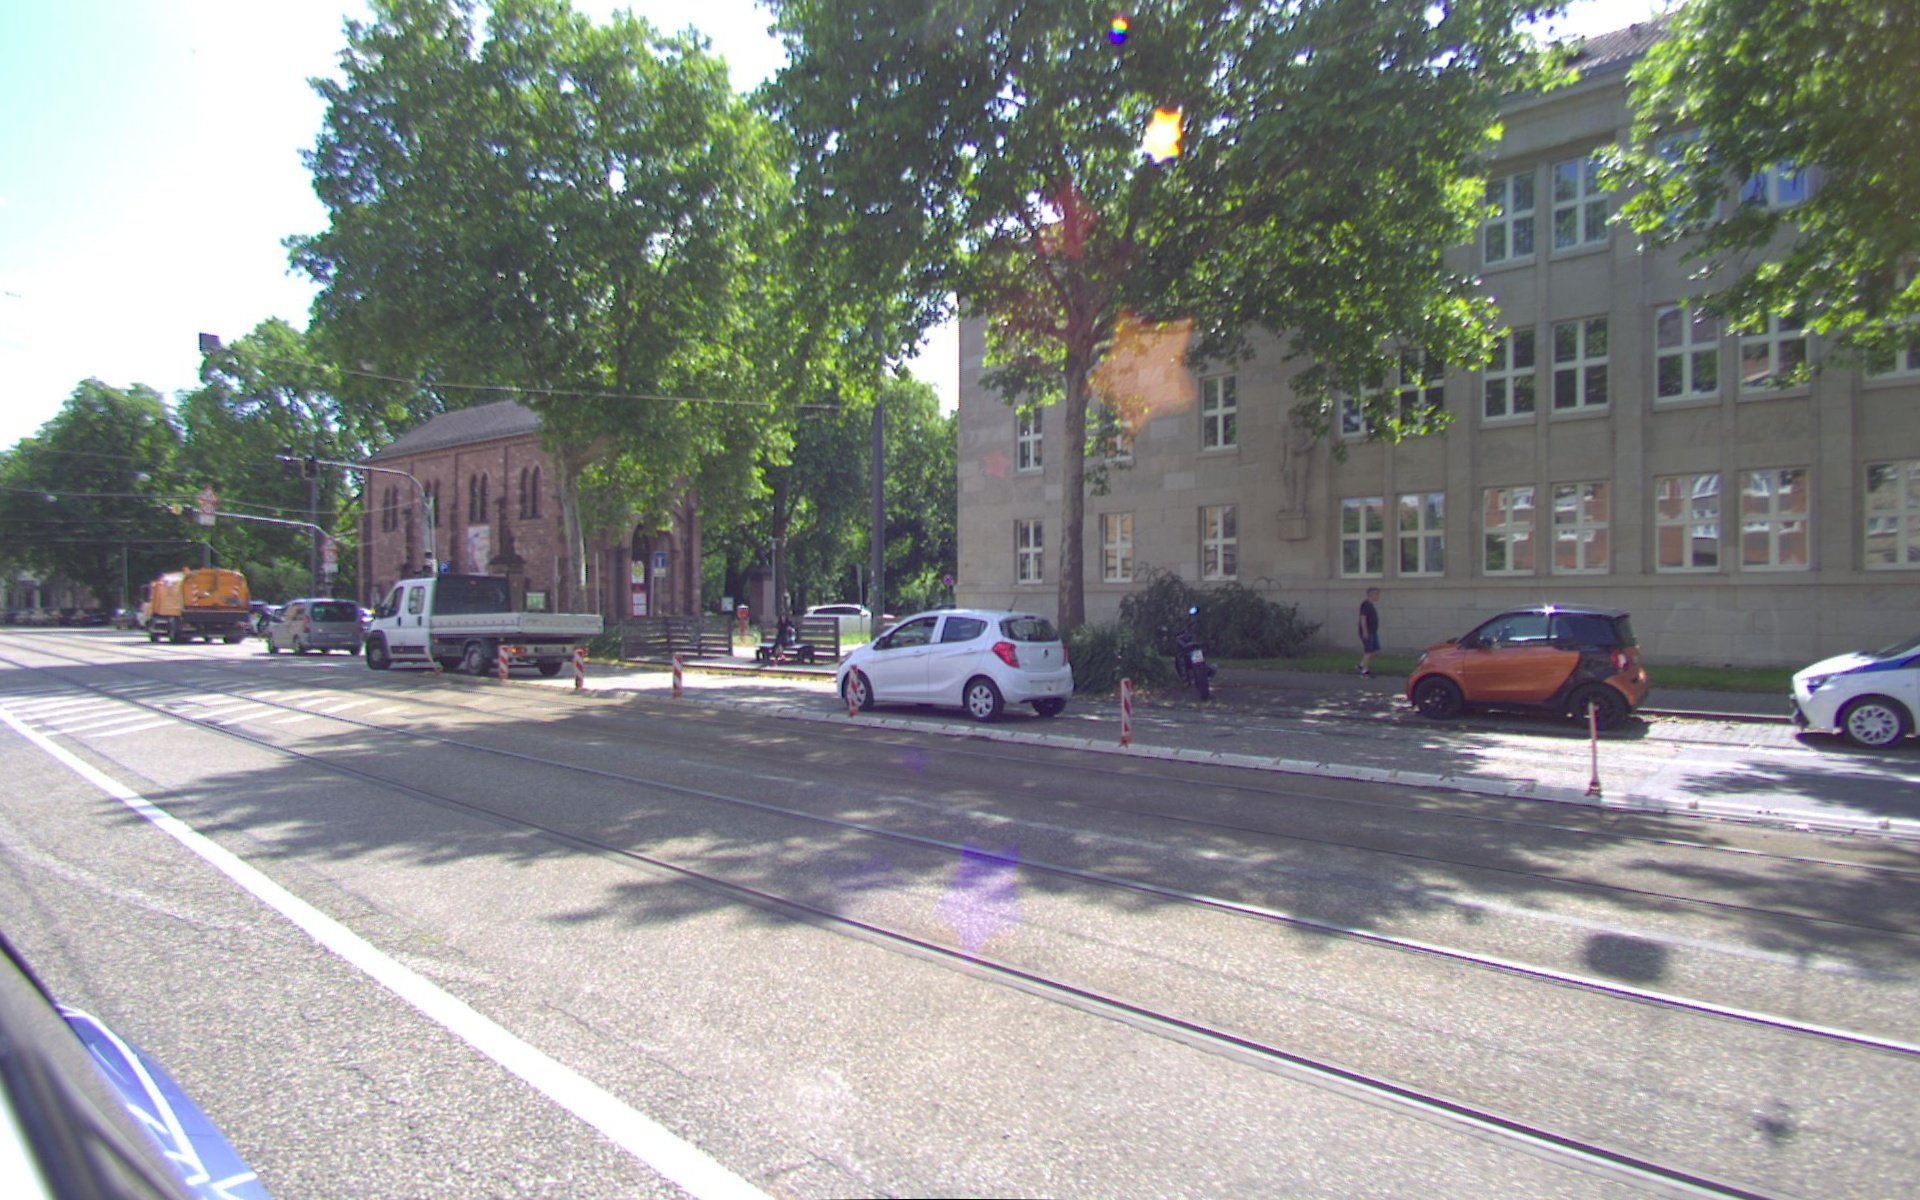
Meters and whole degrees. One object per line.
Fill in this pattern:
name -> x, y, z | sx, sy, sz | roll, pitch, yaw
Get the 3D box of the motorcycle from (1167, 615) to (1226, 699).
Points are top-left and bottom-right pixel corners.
motorcycle -> 3.992, 0.928, 17.236 | 0.537, 1.184, 2.106 | -4, 2, 3

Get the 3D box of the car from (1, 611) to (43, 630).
car -> -82.045, 1.762, 88.516 | 3.987, 1.508, 1.743 | 0, 1, 32

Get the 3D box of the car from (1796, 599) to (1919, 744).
car -> 11.144, 0.734, 10.721 | 3.488, 1.464, 1.729 | -1, 1, 40

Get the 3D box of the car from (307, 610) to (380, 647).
car -> -27.919, 1.246, 45.773 | 3.999, 1.508, 1.738 | 0, 1, 42

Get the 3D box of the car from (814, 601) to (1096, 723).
car -> -0.146, 0.824, 14.341 | 3.785, 1.491, 1.742 | -1, -3, 41

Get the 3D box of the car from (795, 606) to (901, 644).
car -> -4.927, 1.067, 44.633 | 4.364, 1.620, 1.755 | 0, 0, 12

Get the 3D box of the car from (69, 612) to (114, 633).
car -> -68.827, 1.752, 80.175 | 3.991, 1.508, 1.742 | 0, 1, 35

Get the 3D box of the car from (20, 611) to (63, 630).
car -> -78.246, 1.715, 86.176 | 3.988, 1.508, 1.743 | 0, 1, 33

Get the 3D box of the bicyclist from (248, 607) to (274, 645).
bicyclist -> -31.741, 1.157, 45.972 | 1.175, 1.699, 0.694 | 0, -1, 41

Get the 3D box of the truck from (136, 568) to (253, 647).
truck -> -33.180, 0.330, 43.734 | 7.220, 3.130, 2.611 | 0, -2, 42

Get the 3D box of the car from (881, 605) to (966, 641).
car -> -1.777, 1.093, 49.717 | 3.952, 1.706, 1.757 | 0, 0, 8

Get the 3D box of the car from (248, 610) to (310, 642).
car -> -34.938, 1.317, 51.892 | 3.999, 1.508, 1.738 | 0, 1, 42

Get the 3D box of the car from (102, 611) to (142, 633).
car -> -63.143, 1.644, 76.238 | 3.999, 1.508, 1.738 | 0, 1, 42

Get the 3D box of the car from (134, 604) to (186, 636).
car -> -54.665, 1.343, 69.122 | 4.081, 2.019, 1.969 | 0, 1, 39

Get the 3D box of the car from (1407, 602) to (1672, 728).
car -> 7.732, 0.797, 13.585 | 2.880, 1.464, 1.472 | -1, 1, 40

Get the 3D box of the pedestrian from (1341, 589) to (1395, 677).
pedestrian -> 7.625, 0.592, 18.922 | 0.795, 1.603, 0.548 | 0, 1, 41

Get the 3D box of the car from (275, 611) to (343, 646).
car -> -31.392, 1.333, 48.776 | 3.999, 1.508, 1.738 | 0, 1, 42

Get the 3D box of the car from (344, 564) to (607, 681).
car -> -11.415, 0.540, 23.582 | 6.961, 2.392, 2.237 | -1, -3, 34

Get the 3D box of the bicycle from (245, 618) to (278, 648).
bicycle -> -31.772, 1.484, 46.004 | 2.217, 1.300, 0.697 | 0, 0, 41

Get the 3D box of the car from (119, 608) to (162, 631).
car -> -58.507, 1.401, 72.231 | 3.999, 1.508, 1.738 | 0, 1, 42

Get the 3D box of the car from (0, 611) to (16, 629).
car -> -88.080, 1.817, 92.166 | 3.977, 1.508, 1.748 | 0, 1, 25

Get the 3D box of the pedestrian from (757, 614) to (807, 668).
pedestrian -> -4.410, 0.993, 25.046 | 0.913, 1.221, 0.747 | 0, 5, 43

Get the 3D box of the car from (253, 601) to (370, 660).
car -> -20.904, 0.947, 32.543 | 4.535, 1.759, 1.901 | 0, -2, 41

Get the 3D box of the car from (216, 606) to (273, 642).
car -> -39.666, 1.295, 56.094 | 3.999, 1.850, 1.738 | 0, 1, 42
